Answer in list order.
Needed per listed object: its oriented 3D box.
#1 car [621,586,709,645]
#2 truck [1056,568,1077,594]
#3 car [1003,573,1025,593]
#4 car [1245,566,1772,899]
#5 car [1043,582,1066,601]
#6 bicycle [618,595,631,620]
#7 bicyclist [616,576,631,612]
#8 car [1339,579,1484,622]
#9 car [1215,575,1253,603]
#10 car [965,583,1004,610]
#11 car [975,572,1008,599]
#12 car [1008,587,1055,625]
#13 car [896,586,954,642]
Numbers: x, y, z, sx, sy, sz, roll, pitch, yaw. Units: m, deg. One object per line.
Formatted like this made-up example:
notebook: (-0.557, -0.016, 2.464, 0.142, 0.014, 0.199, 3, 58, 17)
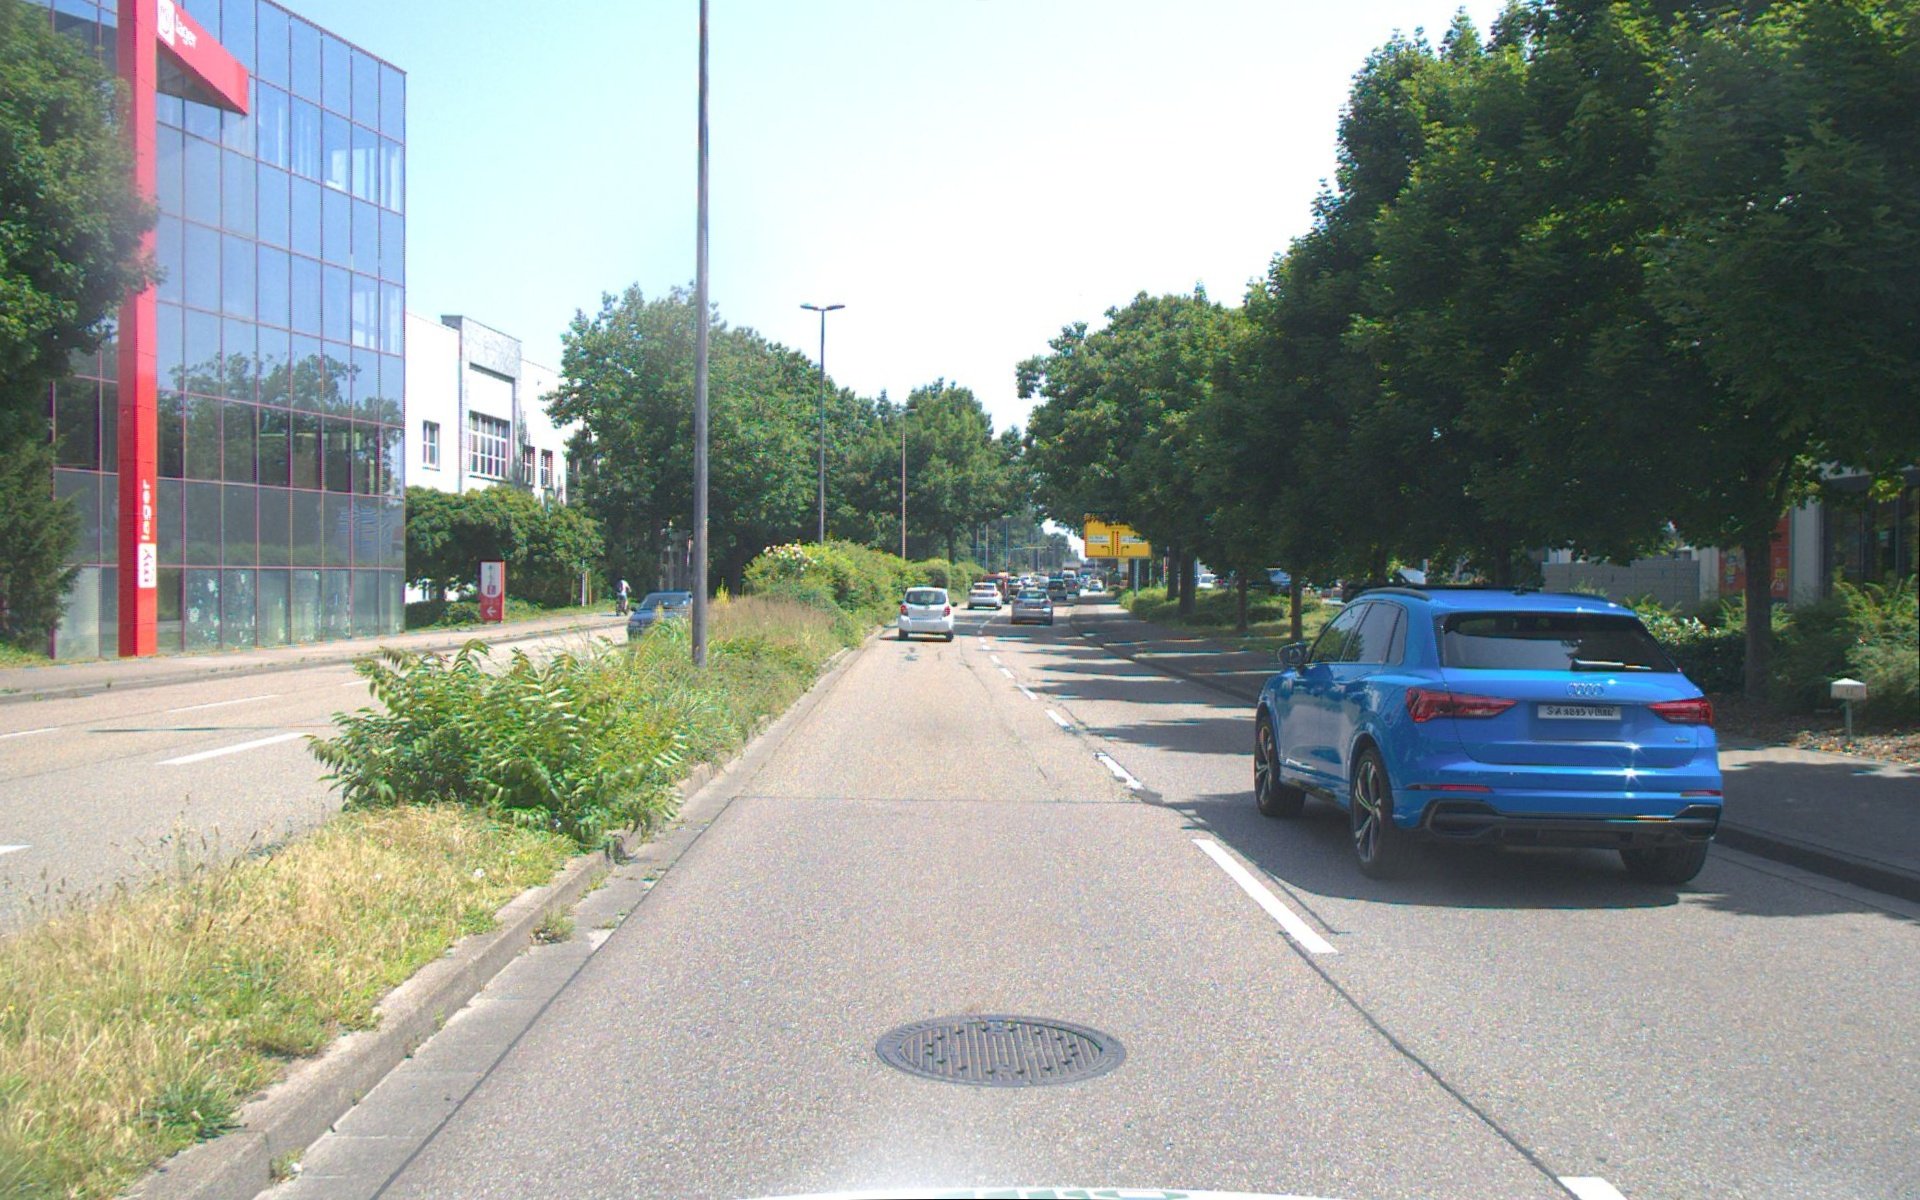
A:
car: (-8.004, 0.394, 45.180, 1.687, 1.441, 4.246, -2, 1, -1)
truck: (15.048, -2.749, 233.217, 2.870, 3.563, 9.163, 0, 1, 4)
car: (3.920, -1.210, 120.784, 1.457, 1.416, 3.307, 1, 0, -1)
car: (3.104, 0.649, 10.388, 1.772, 1.620, 4.348, 1, 0, -1)
car: (7.006, -0.626, 122.422, 1.412, 1.371, 3.459, -1, 0, -1)
bicycle: (-14.368, 0.319, 70.813, 0.339, 1.086, 0.923, -1, 0, -1)
bicyclist: (-14.386, -0.254, 70.748, 0.534, 1.536, 0.343, -2, 0, -1)
car: (15.240, 0.027, 56.061, 1.928, 1.375, 4.662, -1, 0, -32)
car: (12.651, -0.504, 76.501, 1.584, 1.275, 3.766, 1, 0, 8)
car: (1.328, -0.193, 88.249, 1.845, 1.378, 4.002, 1, 0, 5)
car: (2.046, -0.896, 104.849, 1.845, 1.636, 4.002, 1, 0, 4)
car: (2.909, 0.224, 67.864, 1.827, 1.498, 4.001, 1, 0, 2)
car: (-1.012, 0.397, 49.204, 1.605, 1.579, 3.325, 1, 0, 0)
